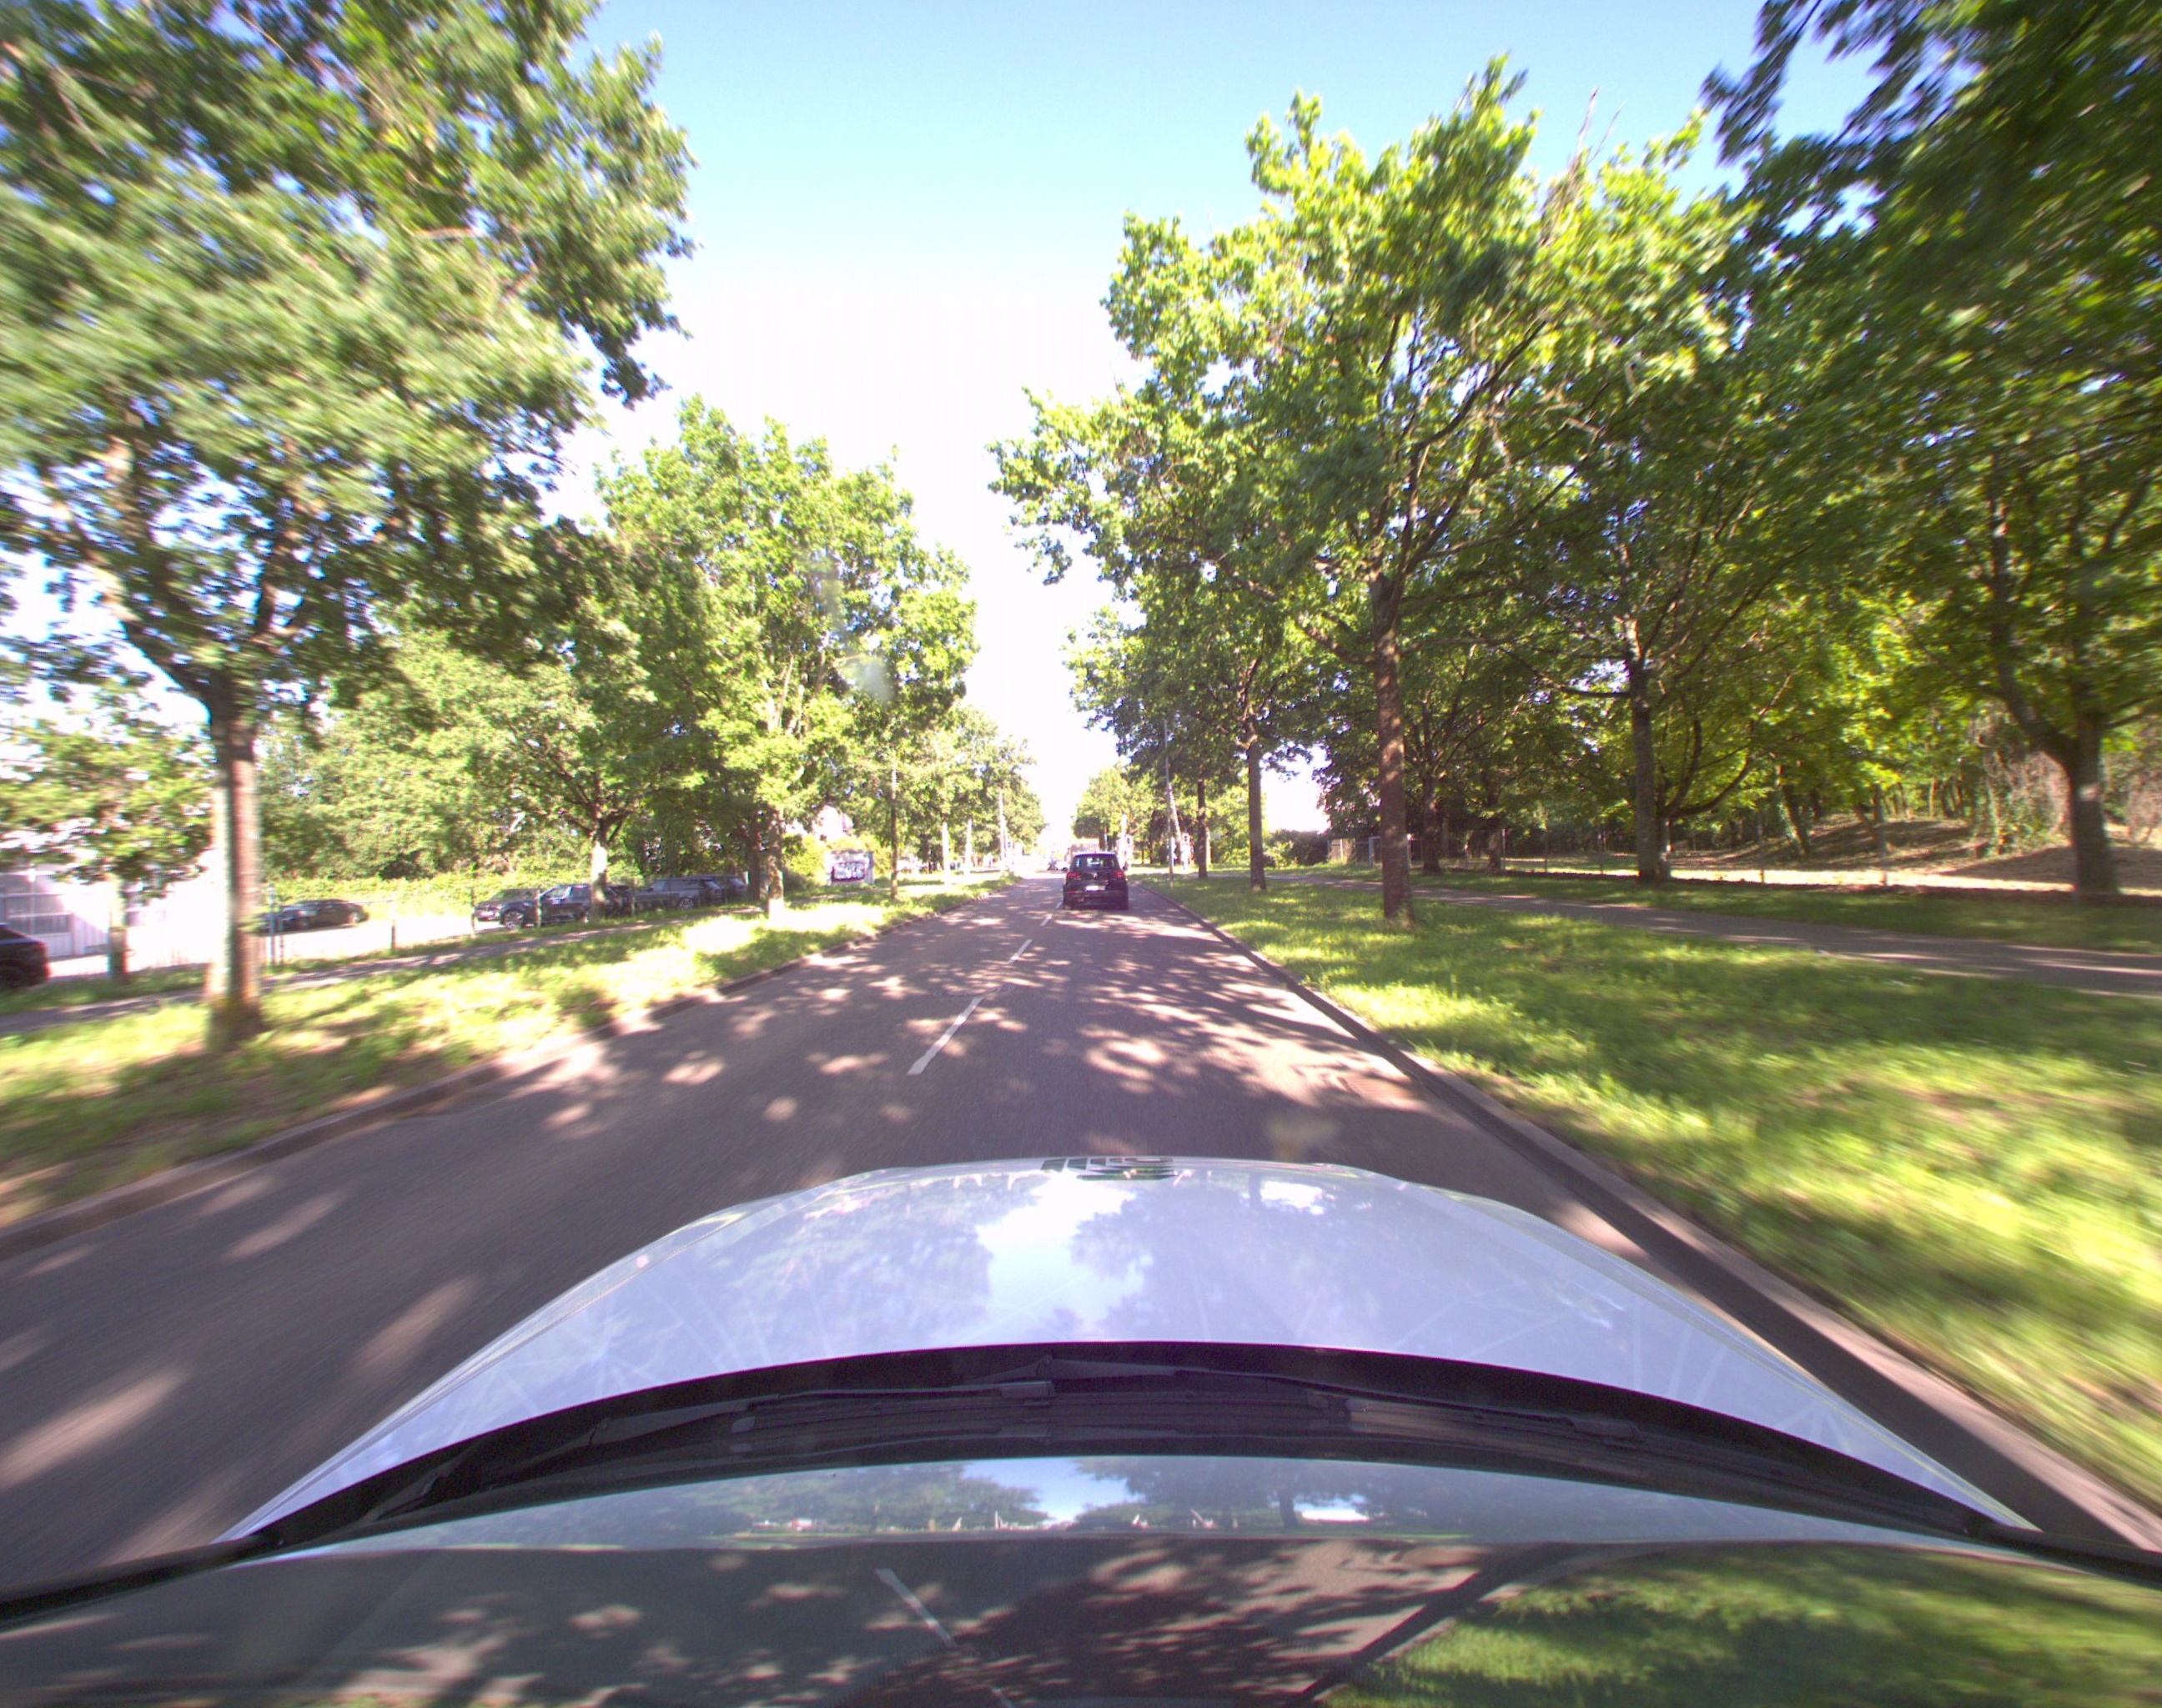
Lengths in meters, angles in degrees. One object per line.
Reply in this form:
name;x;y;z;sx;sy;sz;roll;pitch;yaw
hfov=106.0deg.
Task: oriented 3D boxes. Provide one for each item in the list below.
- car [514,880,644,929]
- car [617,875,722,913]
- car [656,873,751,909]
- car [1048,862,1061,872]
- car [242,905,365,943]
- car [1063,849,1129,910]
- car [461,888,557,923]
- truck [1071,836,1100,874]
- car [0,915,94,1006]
car;-20.207;2.000;32.956;3.981;1.801;1.996;0;-1;-6
car;-20.501;1.967;40.737;4.181;1.801;1.998;0;-1;-4
car;-20.138;1.961;43.587;4.181;1.801;1.998;0;-1;-4
car;-4.006;1.927;123.002;1.559;1.504;4.003;0;0;3
car;-40.663;3.611;42.790;1.990;1.566;4.877;0;0;-4
car;0.441;0.696;24.063;1.776;1.633;4.000;0;0;1
car;-30.669;2.727;43.900;1.990;1.566;4.877;0;0;-4
truck;0.429;0.095;75.239;2.503;3.244;8.152;-2;0;1
car;-21.127;2.033;14.048;1.986;1.598;5.016;0;0;1
